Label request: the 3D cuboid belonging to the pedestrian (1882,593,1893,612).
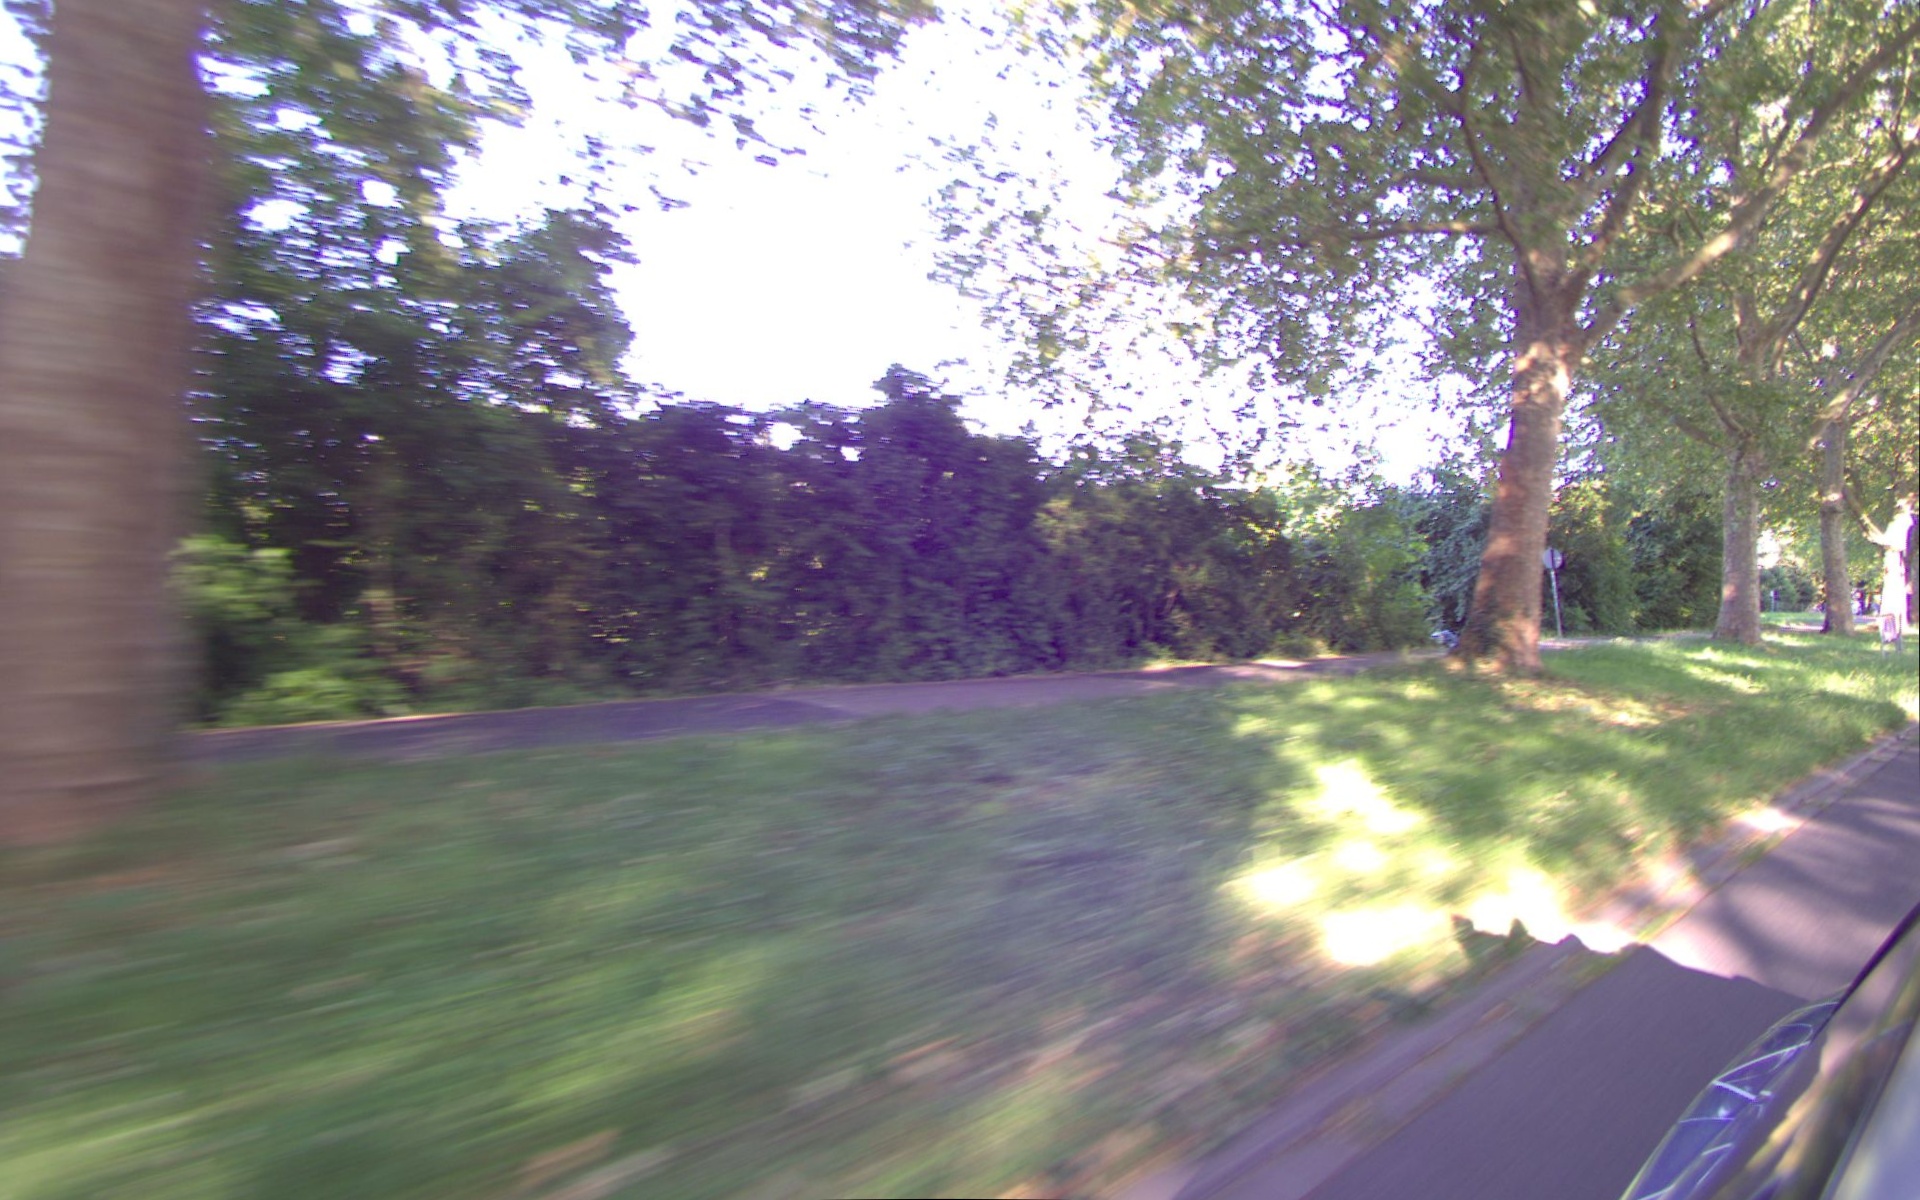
[{"bbox_3d":[95.473,0.253,104.180,0.789,1.870,0.755,1,1,-44],"label":"pedestrian"}]
